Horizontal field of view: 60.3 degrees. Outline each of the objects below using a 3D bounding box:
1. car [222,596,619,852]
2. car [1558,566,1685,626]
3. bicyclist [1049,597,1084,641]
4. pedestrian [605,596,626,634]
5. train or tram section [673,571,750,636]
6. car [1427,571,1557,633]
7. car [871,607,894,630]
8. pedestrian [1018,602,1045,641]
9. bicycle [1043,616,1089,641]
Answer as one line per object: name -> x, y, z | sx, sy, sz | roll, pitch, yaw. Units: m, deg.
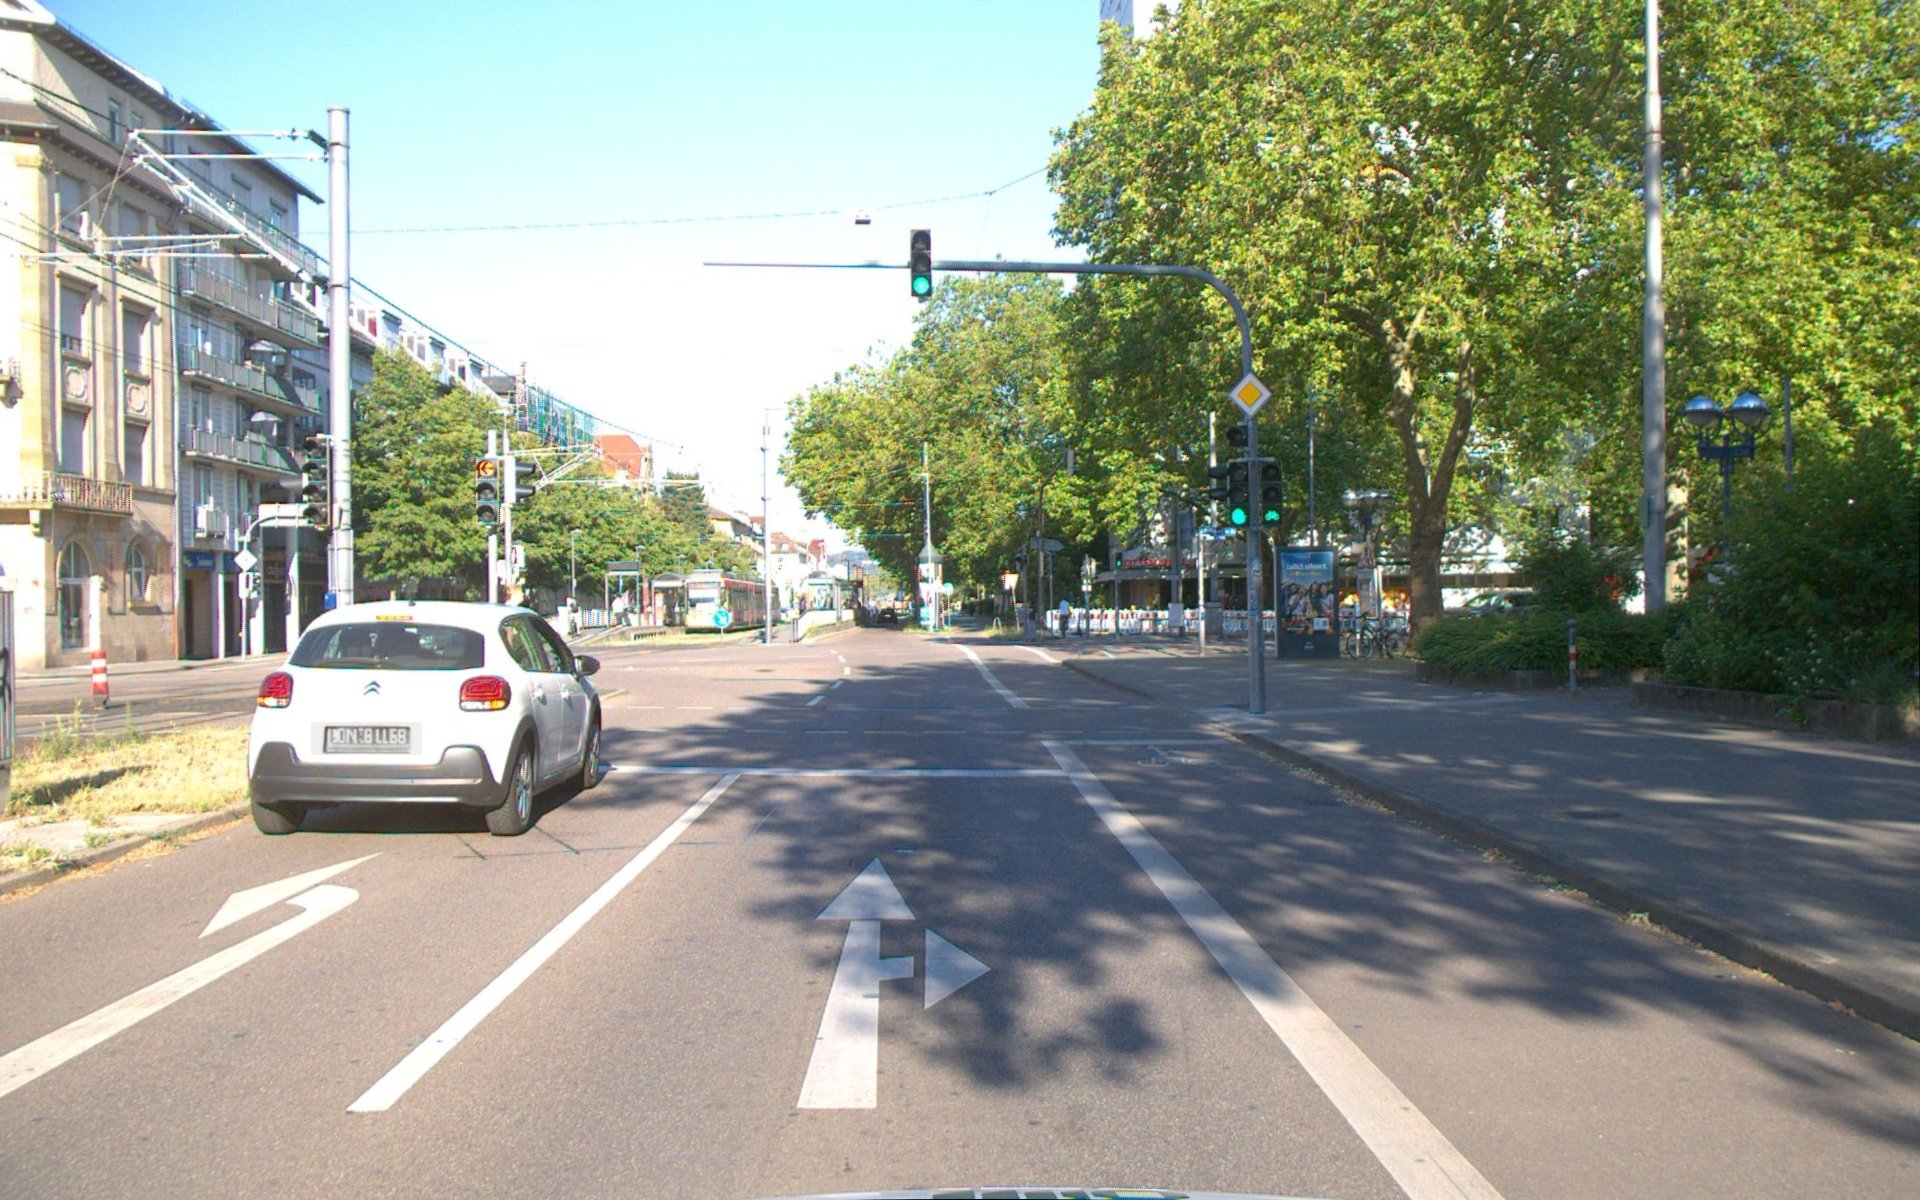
car -> -3.608, 0.741, 11.736 | 1.710, 1.487, 3.643 | 1, 0, -2
car -> 24.014, -0.128, 60.083 | 3.927, 2.049, 1.989 | 1, 0, -19
bicyclist -> 4.311, 0.768, 66.681 | 1.174, 1.726, 0.904 | 1, 0, 19
pedestrian -> -17.274, 0.750, 82.932 | 0.944, 1.865, 0.988 | 1, 0, -8
train or tram section -> -14.163, 0.200, 95.208 | 2.892, 3.470, 10.788 | 1, 0, -1
car -> 18.605, 0.087, 57.848 | 3.927, 2.049, 1.989 | 1, 0, -19
car -> -7.140, 1.681, 152.037 | 1.953, 2.049, 3.999 | 1, 0, -1
pedestrian -> 2.649, 0.794, 61.055 | 0.647, 1.412, 0.830 | 1, 0, 30
bicycle -> 4.282, 1.155, 66.665 | 1.174, 0.951, 2.574 | 1, 0, 19
